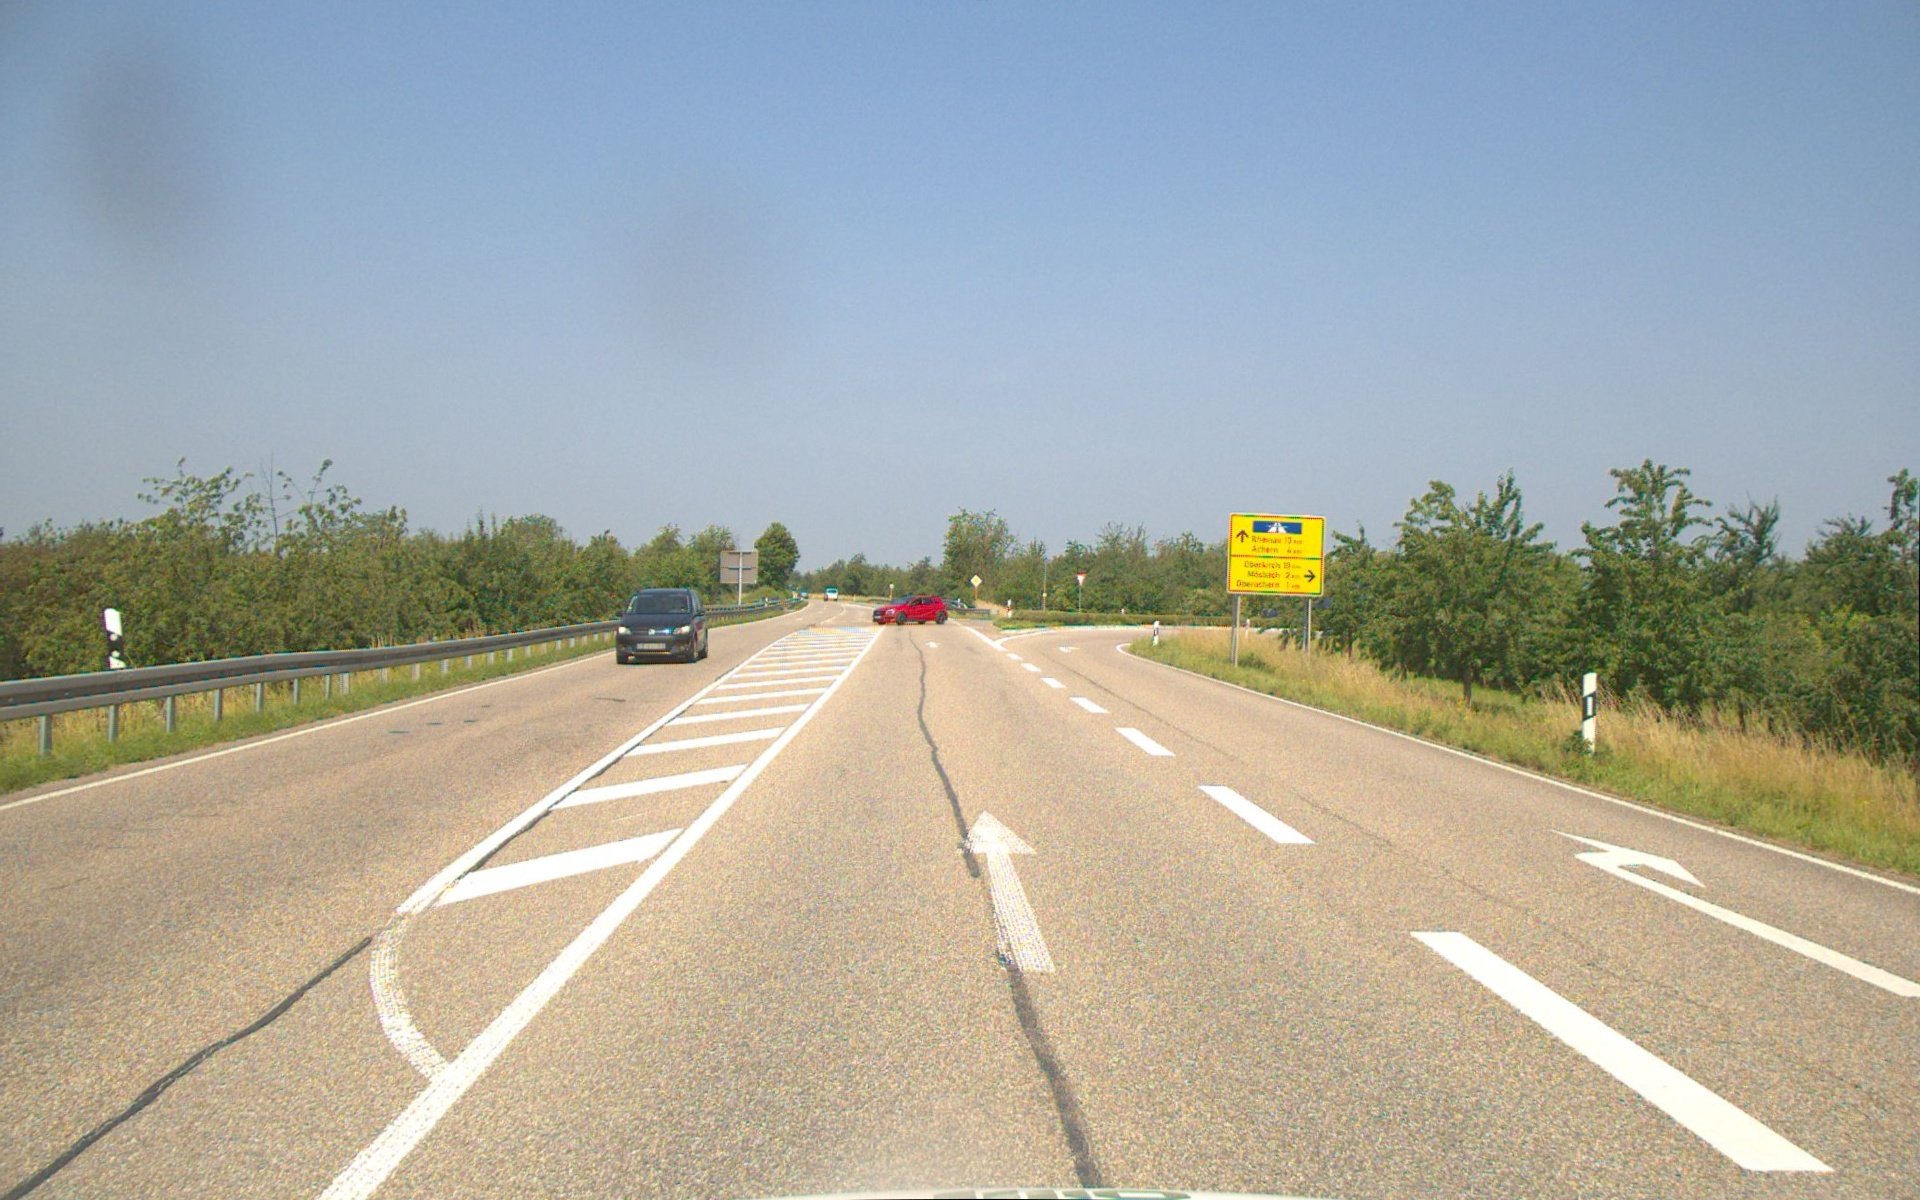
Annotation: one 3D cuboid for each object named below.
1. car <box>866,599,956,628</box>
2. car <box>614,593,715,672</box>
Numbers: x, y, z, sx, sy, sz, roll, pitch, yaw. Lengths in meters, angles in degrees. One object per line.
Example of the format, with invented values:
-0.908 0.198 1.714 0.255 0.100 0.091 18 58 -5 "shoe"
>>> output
-2.504 0.672 84.929 4.450 1.474 1.796 0 0 -39 "car"
-6.676 0.701 37.753 1.768 1.666 4.805 0 0 -4 "car"
